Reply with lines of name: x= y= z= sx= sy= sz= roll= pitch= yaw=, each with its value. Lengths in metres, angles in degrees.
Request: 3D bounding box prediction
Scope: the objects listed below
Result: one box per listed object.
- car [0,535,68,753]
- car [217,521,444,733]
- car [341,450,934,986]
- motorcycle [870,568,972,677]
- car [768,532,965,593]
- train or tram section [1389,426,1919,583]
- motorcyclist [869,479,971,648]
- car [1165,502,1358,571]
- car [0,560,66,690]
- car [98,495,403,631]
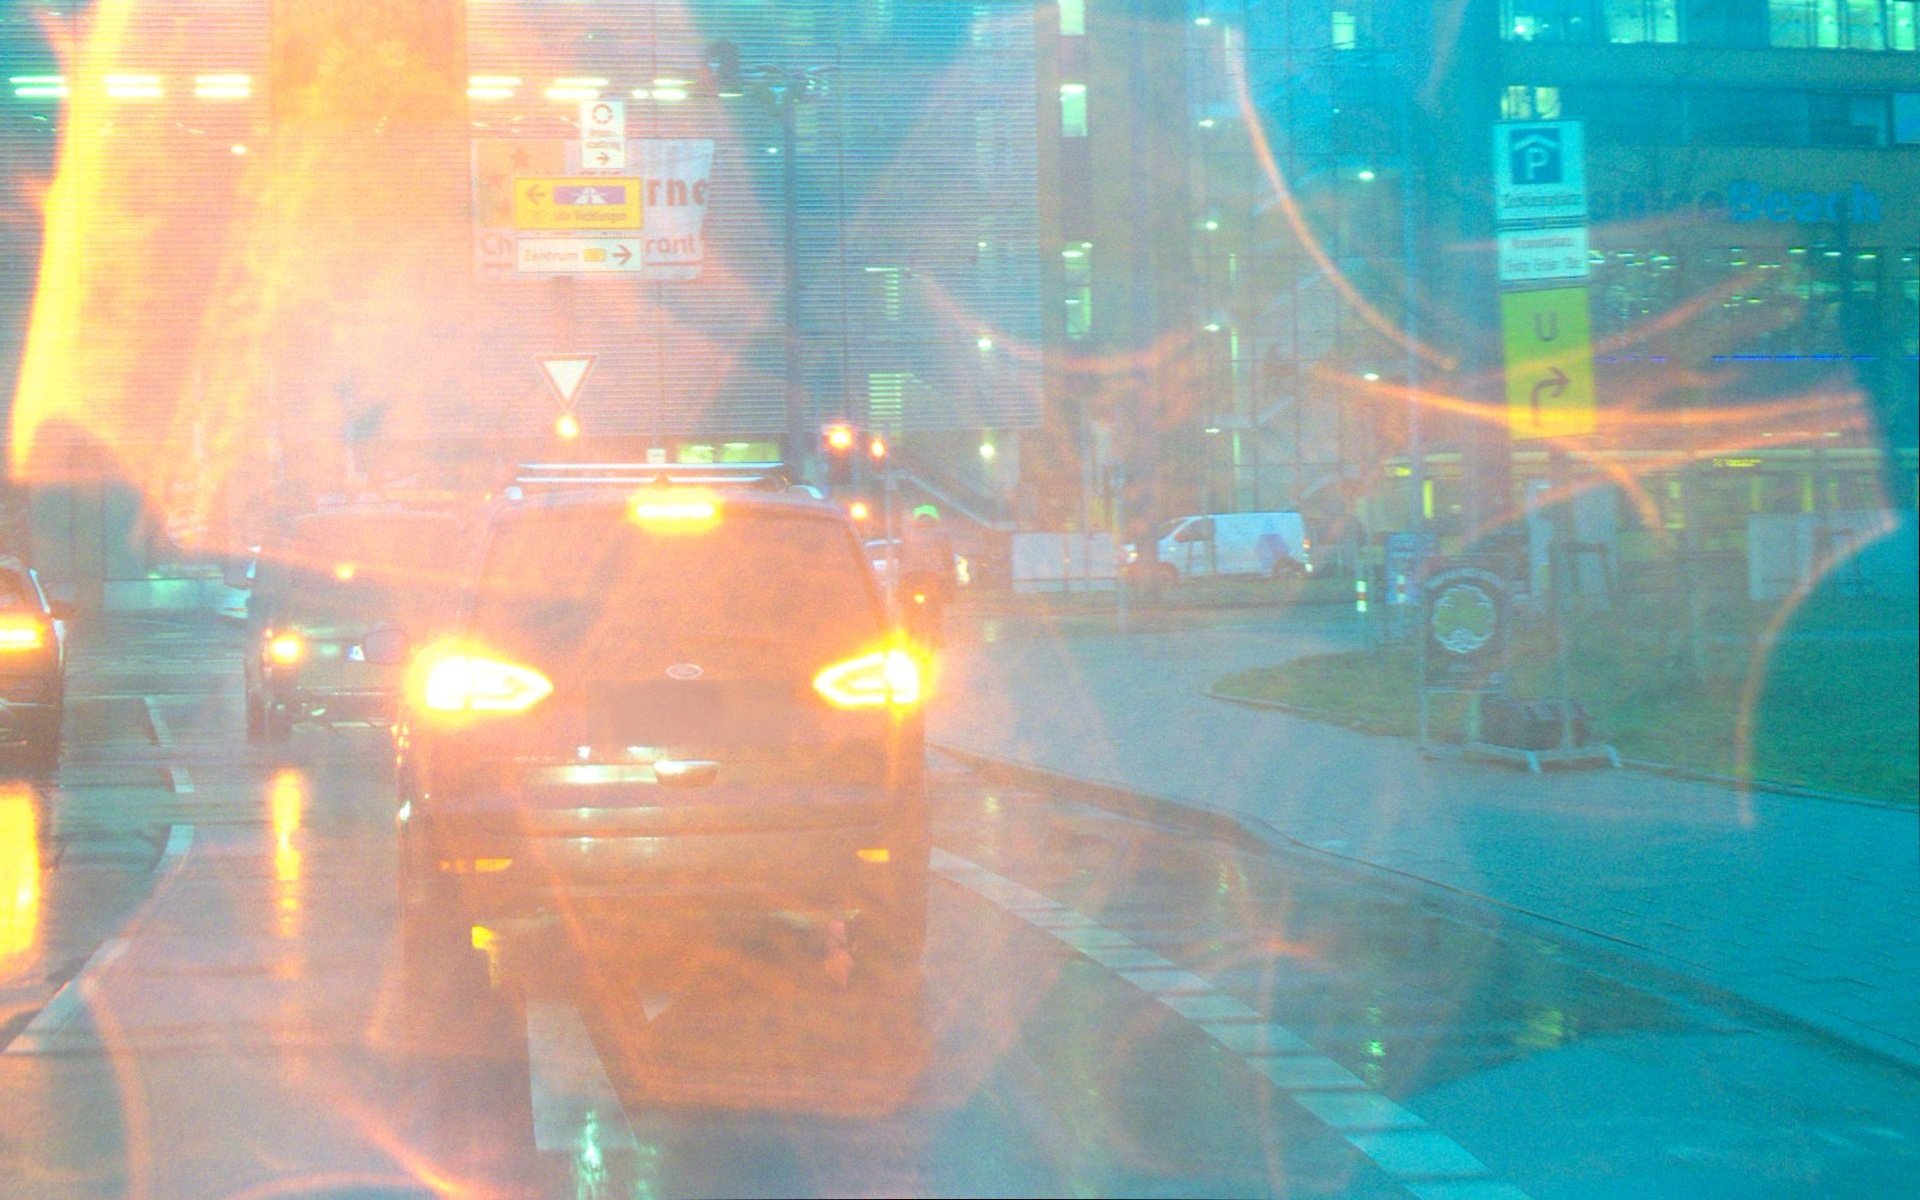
car: x=-7.844 y=0.311 z=26.657 sx=1.752 sy=1.568 sz=4.001 roll=-1 pitch=1 yaw=-14
car: x=-5.441 y=0.196 z=29.433 sx=1.635 sy=1.691 sz=3.672 roll=0 pitch=0 yaw=-15
car: x=-1.416 y=0.364 z=13.363 sx=1.734 sy=1.732 sz=4.248 roll=1 pitch=1 yaw=-13
motorcycle: x=-0.373 y=0.196 z=31.934 sx=0.852 sy=0.968 sz=1.582 roll=-1 pitch=1 yaw=-3
car: x=-2.276 y=-0.921 z=83.342 sx=4.418 sy=1.385 sz=1.800 roll=-1 pitch=1 yaw=-17
train or tram section: x=17.350 y=-2.215 z=77.012 sx=16.602 sy=3.249 sz=2.337 roll=-2 pitch=1 yaw=-25
motorcyclist: x=-0.381 y=-0.342 z=31.879 sx=0.868 sy=1.529 sz=1.108 roll=-1 pitch=1 yaw=-3
car: x=7.541 y=-1.571 z=86.069 sx=4.418 sy=1.590 sz=1.800 roll=1 pitch=0 yaw=-14
car: x=-9.998 y=0.229 z=34.893 sx=1.540 sy=1.247 sz=4.069 roll=-1 pitch=1 yaw=-18
car: x=-11.056 y=-0.574 z=53.535 sx=4.354 sy=2.007 sz=2.001 roll=1 pitch=1 yaw=-21
